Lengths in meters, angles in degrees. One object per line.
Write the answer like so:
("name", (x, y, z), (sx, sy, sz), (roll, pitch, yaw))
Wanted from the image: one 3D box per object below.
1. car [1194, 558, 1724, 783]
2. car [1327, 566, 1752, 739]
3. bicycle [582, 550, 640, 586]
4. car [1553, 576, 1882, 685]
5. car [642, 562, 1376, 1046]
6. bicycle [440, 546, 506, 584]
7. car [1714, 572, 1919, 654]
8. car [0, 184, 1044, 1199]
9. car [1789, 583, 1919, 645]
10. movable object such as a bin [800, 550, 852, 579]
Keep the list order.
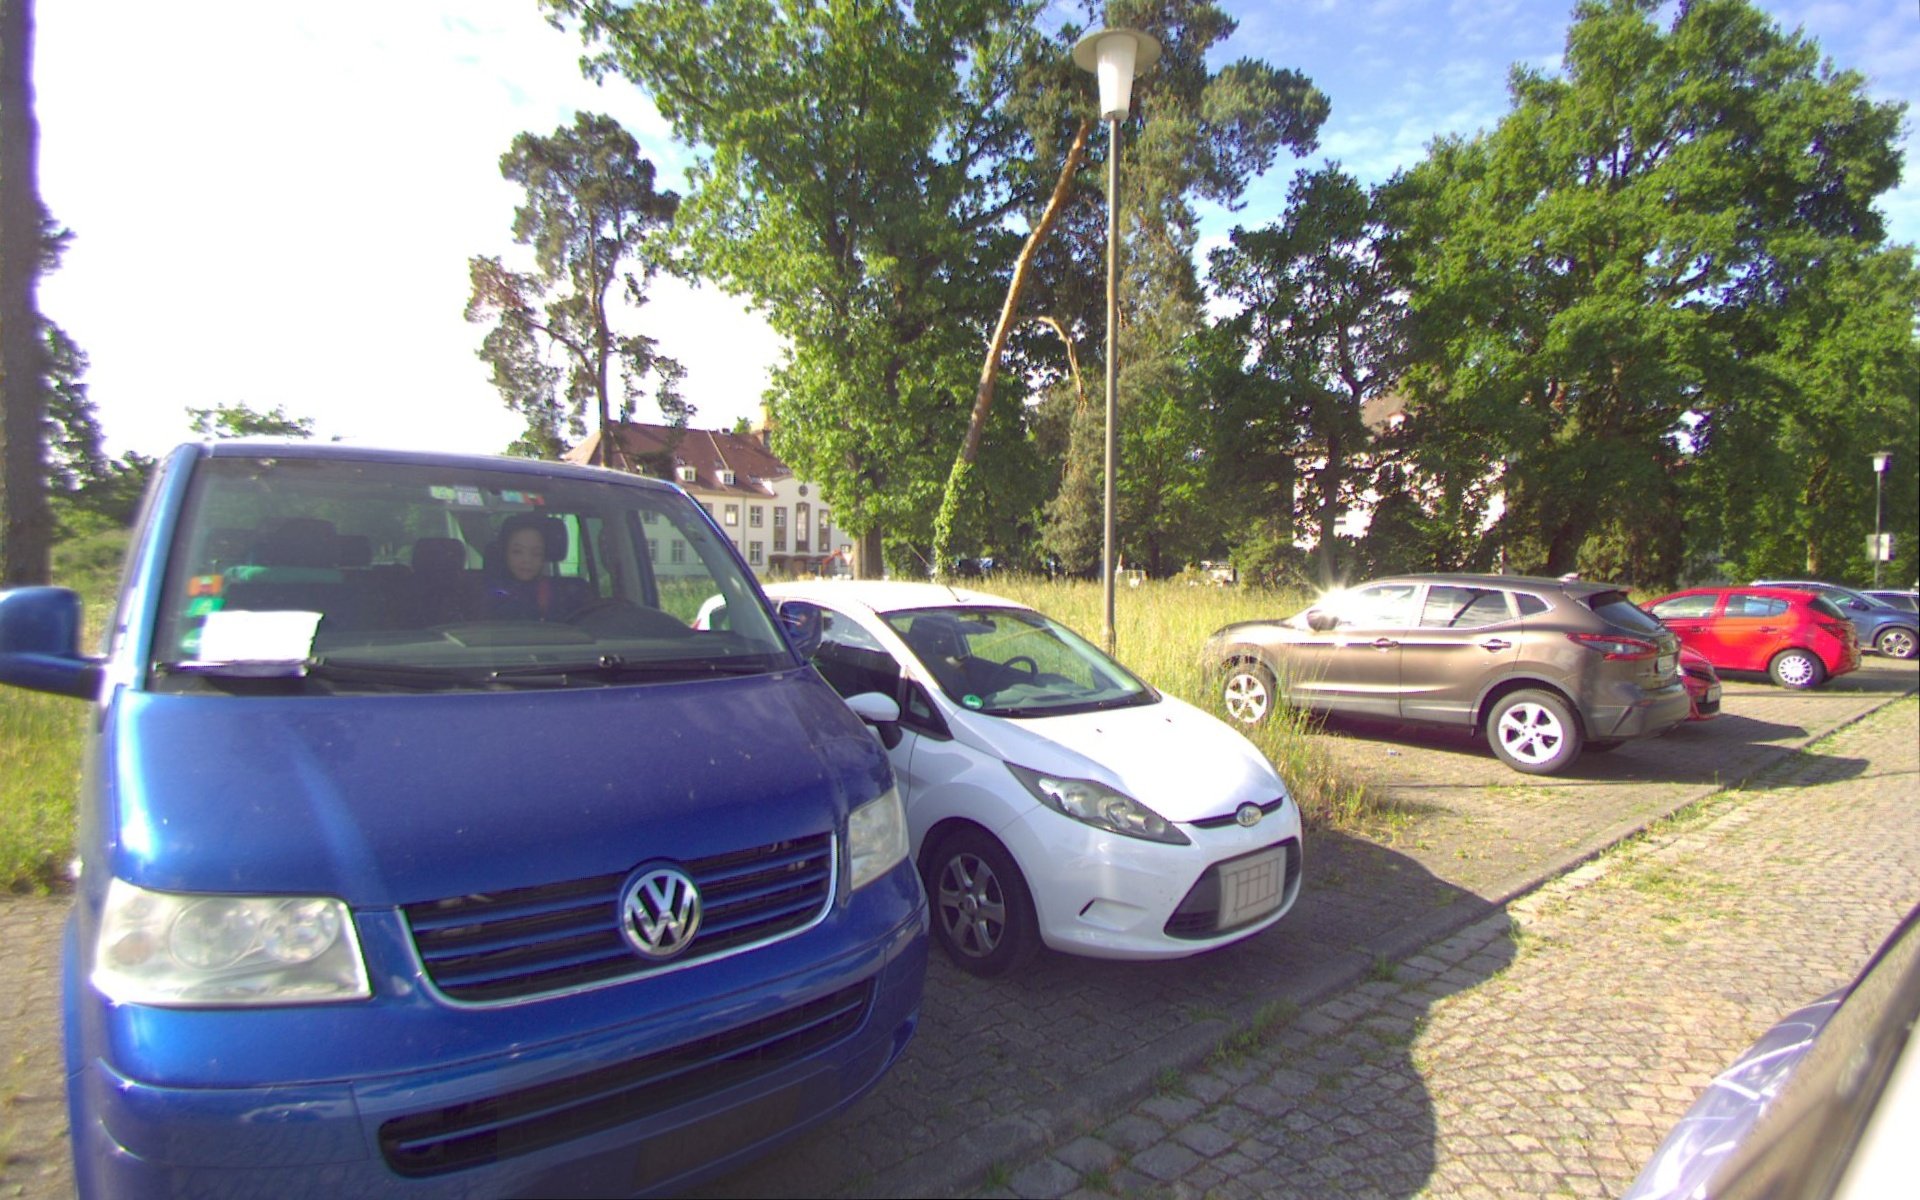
("car", (4.451, 0.447, 9.540), (1.755, 1.631, 4.114), (-1, 2, -41))
("car", (6.386, 0.434, 11.504), (1.673, 1.557, 3.834), (0, 3, -39))
("bicycle", (-20.562, -1.889, 59.655), (3.078, 2.038, 0.952), (-3, 3, -42))
("car", (12.005, 0.389, 16.258), (1.513, 1.514, 3.995), (-1, 2, -40))
("car", (-0.065, 0.603, 5.191), (1.582, 1.484, 3.726), (0, 3, -42))
("bicycle", (-26.625, -1.935, 55.340), (3.078, 2.038, 0.952), (-3, 3, -42))
("car", (19.761, 0.240, 22.692), (1.622, 1.618, 4.272), (-1, 3, -40))
("car", (-2.077, 0.321, 3.790), (1.964, 2.038, 4.766), (0, 4, -39))
("car", (23.496, 0.328, 25.461), (1.716, 1.484, 3.809), (-1, 2, -39))
("movable object such as a bin", (-14.013, -3.660, 105.913), (4.975, 2.937, 2.182), (0, 2, -34))
